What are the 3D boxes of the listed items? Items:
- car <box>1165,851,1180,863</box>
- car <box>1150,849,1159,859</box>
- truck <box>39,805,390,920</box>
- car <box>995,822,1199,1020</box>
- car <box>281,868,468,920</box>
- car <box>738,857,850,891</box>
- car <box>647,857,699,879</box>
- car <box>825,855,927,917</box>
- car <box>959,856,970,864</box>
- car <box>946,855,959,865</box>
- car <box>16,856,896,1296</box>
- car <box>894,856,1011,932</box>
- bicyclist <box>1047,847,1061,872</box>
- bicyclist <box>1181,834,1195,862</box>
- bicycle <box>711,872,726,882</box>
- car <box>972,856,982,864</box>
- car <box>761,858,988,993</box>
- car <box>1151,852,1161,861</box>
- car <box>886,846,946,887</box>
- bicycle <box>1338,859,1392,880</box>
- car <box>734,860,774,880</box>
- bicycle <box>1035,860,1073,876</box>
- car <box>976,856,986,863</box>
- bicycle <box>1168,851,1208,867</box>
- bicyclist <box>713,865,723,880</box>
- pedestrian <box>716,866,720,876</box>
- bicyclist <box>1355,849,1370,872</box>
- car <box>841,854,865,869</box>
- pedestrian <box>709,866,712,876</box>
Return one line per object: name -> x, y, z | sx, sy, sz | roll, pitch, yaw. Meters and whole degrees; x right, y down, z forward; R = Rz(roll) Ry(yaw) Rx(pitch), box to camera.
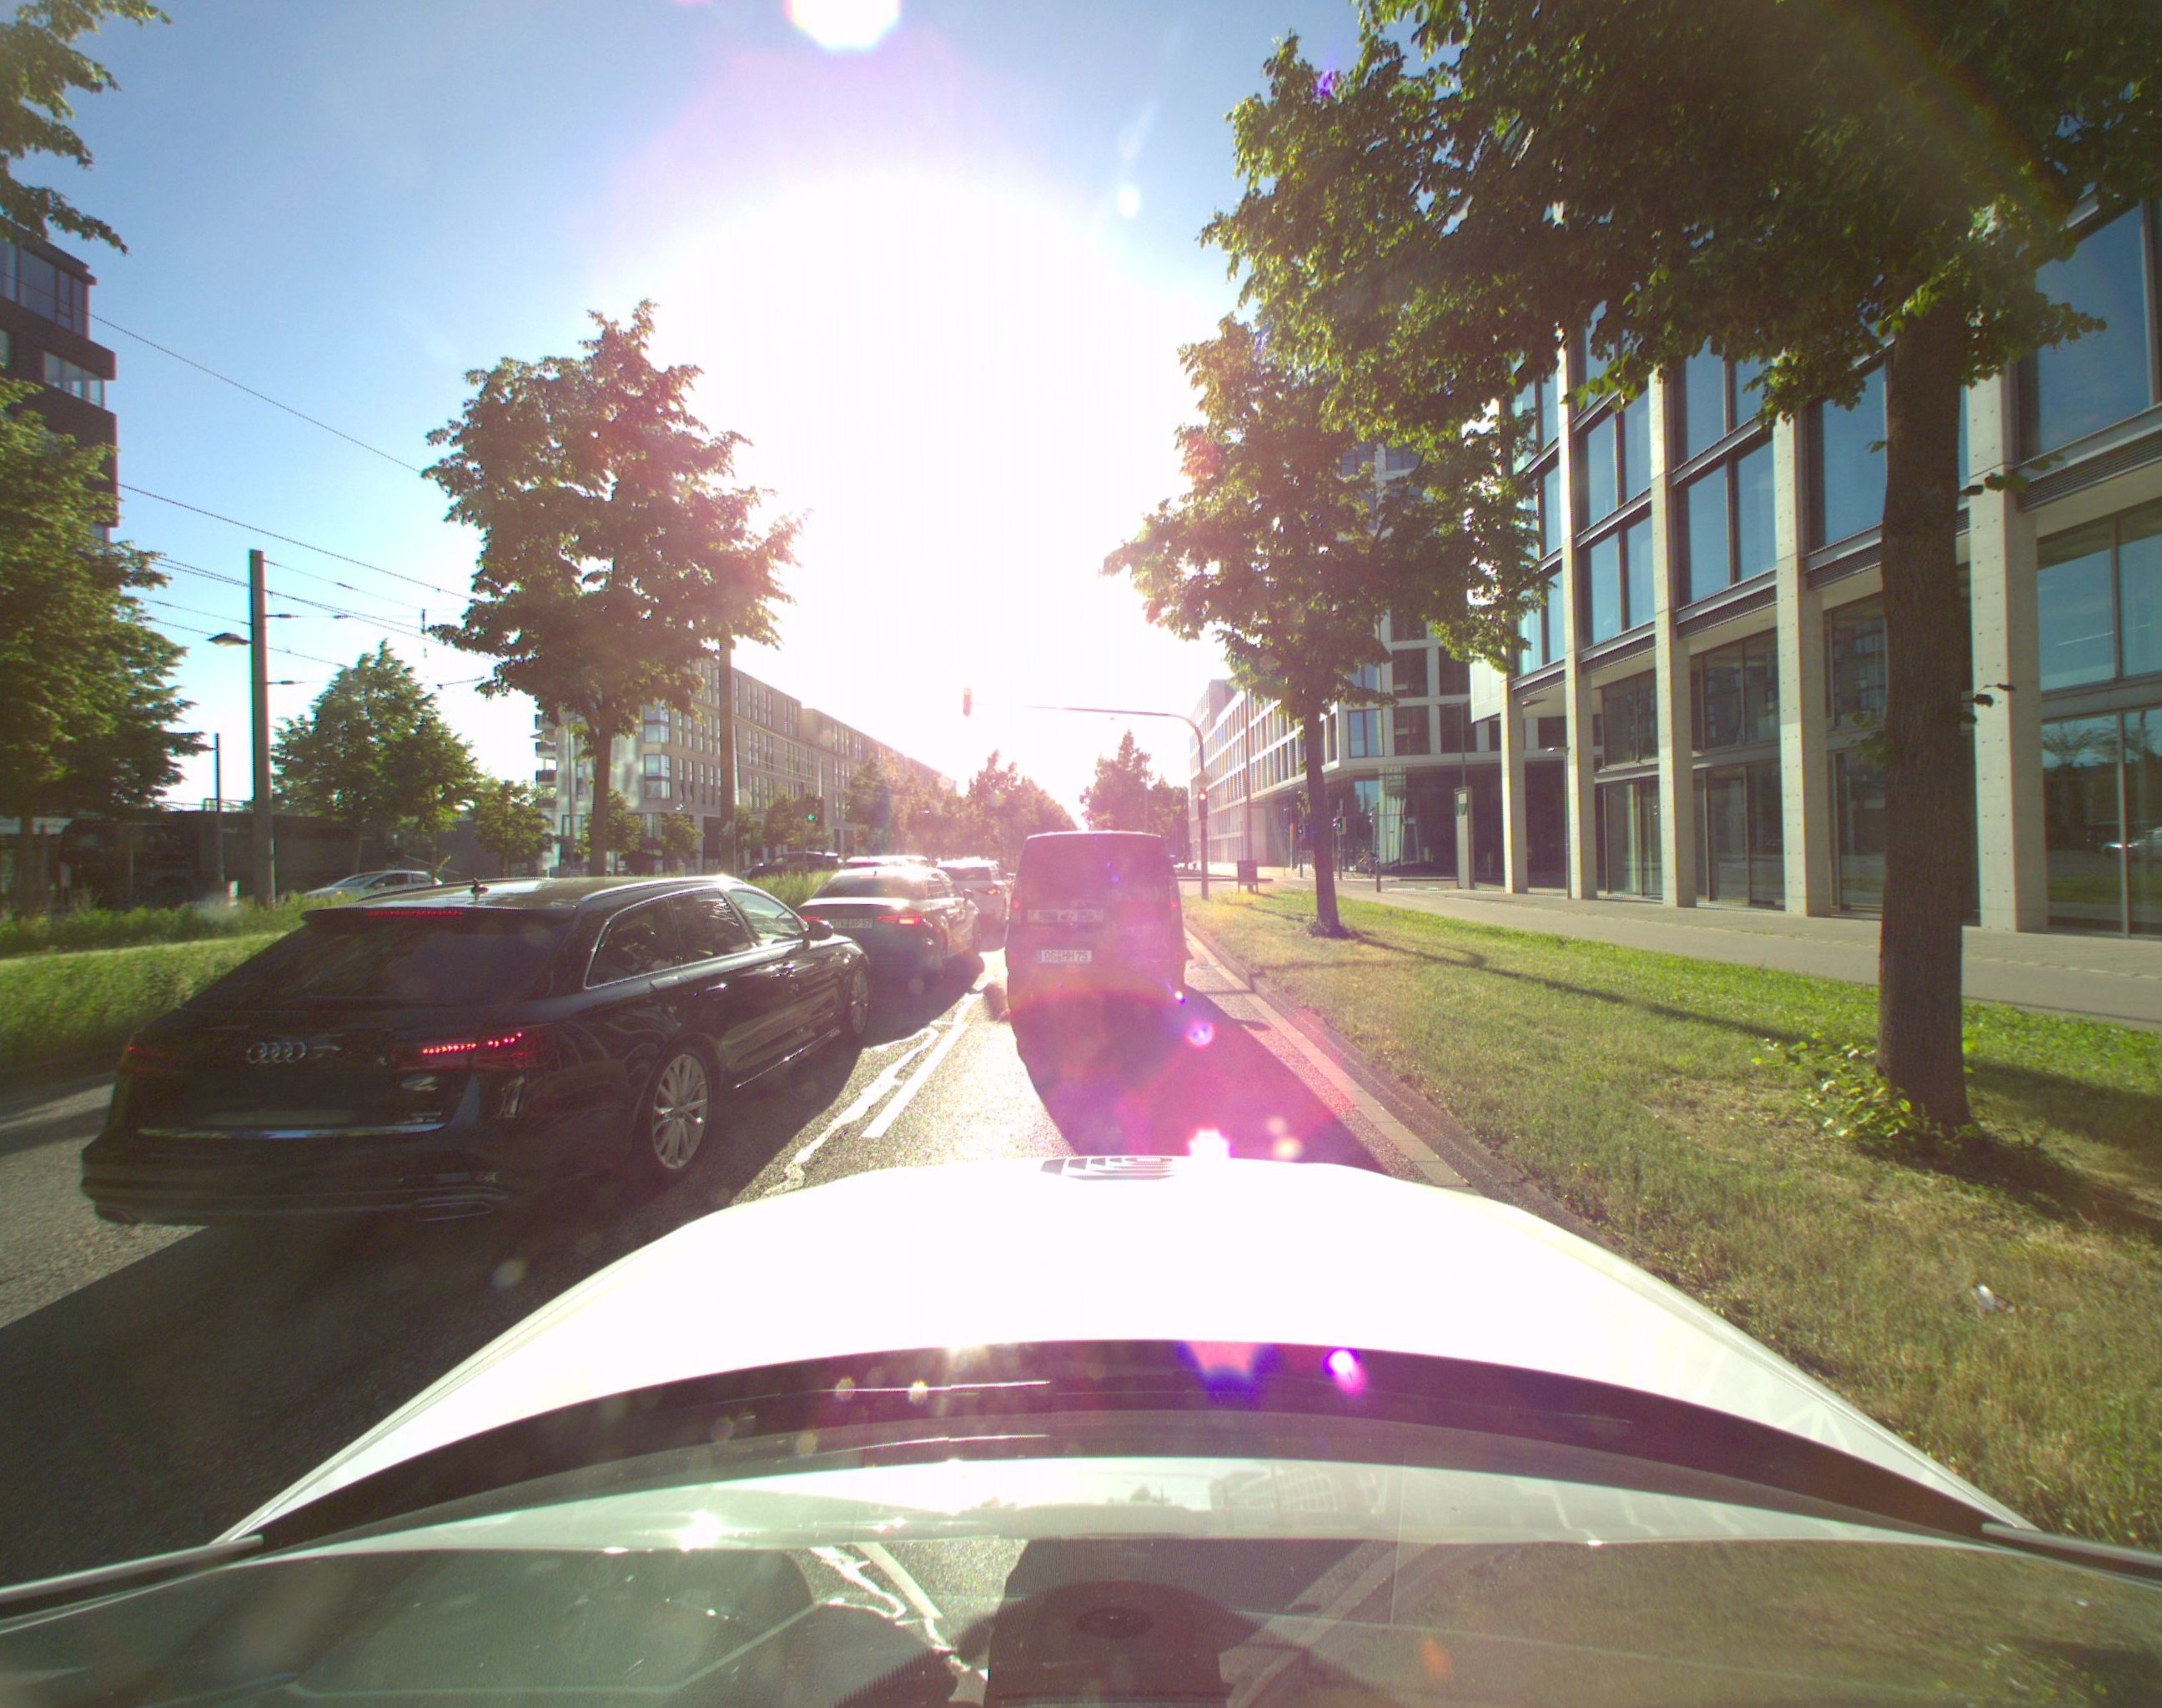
car -> 14.323, 0.424, 127.756 | 1.986, 1.782, 4.002 | -1, 0, 2
car -> 17.897, 0.017, 198.180 | 1.986, 2.497, 4.988 | -1, 0, 2
truck -> -33.635, 0.285, 32.650 | 2.880, 3.853, 10.218 | -1, 0, 2
car -> 0.207, 0.608, 9.444 | 1.835, 1.780, 4.002 | -1, 0, 2
car -> -23.308, 1.255, 27.145 | 1.789, 1.483, 4.579 | 2, 0, 8
car -> -12.977, 0.892, 36.845 | 4.518, 1.447, 1.813 | -1, 0, 16
car -> -31.048, 1.032, 62.077 | 1.758, 1.520, 4.002 | -1, 0, 2
car -> -5.467, 0.801, 22.241 | 1.508, 1.492, 4.219 | -1, 0, 3
car -> -28.605, 1.409, 200.187 | 1.986, 2.013, 4.002 | -1, 0, 2
car -> -28.896, 1.316, 183.368 | 1.986, 2.013, 4.002 | -1, 0, 2
car -> -2.761, 0.784, 5.347 | 1.868, 1.484, 4.967 | -1, 0, 1
car -> -2.666, 0.783, 17.775 | 1.797, 1.426, 3.902 | -1, 0, 2
bicyclist -> -2.172, 0.397, 64.505 | 0.994, 1.947, 0.818 | -1, 0, 3
bicyclist -> 8.220, -0.483, 62.749 | 0.933, 2.092, 0.821 | -1, 0, 15
bicycle -> -37.366, 2.339, 83.989 | 0.674, 0.988, 1.957 | -1, 0, 2
car -> -27.893, 1.517, 218.200 | 1.986, 2.013, 4.002 | -1, 0, 2
car -> -2.501, 0.792, 11.061 | 1.835, 1.426, 4.340 | -1, 0, 2
car -> 16.512, 0.536, 179.679 | 1.986, 1.782, 4.002 | -1, 0, 2
car -> -6.459, 0.460, 31.458 | 1.804, 1.447, 4.541 | -1, 0, -17
bicycle -> 16.051, 0.854, 46.104 | 2.818, 1.114, 0.823 | -1, 0, 11
car -> -31.800, 1.528, 79.248 | 1.986, 1.814, 4.372 | -1, 0, 2
bicycle -> -2.141, 1.129, 64.485 | 2.929, 1.190, 0.818 | -1, 0, 3
car -> -27.435, 1.554, 223.816 | 1.986, 2.013, 4.002 | -1, 0, 2
bicycle -> 8.253, 0.391, 62.729 | 2.920, 1.190, 0.821 | -1, 0, 15
bicyclist -> -37.382, 1.882, 83.938 | 0.674, 1.529, 0.714 | -1, 0, 1
pedestrian -> -39.683, 1.866, 89.102 | 0.253, 1.085, 0.289 | -1, 0, 1
bicyclist -> 15.920, 0.384, 46.137 | 0.676, 1.275, 0.823 | -1, 0, 11
car -> -30.881, 0.980, 110.598 | 1.986, 2.013, 4.002 | -1, 0, 2
pedestrian -> -40.497, 1.887, 89.013 | 0.253, 1.085, 0.260 | -1, 0, 1
